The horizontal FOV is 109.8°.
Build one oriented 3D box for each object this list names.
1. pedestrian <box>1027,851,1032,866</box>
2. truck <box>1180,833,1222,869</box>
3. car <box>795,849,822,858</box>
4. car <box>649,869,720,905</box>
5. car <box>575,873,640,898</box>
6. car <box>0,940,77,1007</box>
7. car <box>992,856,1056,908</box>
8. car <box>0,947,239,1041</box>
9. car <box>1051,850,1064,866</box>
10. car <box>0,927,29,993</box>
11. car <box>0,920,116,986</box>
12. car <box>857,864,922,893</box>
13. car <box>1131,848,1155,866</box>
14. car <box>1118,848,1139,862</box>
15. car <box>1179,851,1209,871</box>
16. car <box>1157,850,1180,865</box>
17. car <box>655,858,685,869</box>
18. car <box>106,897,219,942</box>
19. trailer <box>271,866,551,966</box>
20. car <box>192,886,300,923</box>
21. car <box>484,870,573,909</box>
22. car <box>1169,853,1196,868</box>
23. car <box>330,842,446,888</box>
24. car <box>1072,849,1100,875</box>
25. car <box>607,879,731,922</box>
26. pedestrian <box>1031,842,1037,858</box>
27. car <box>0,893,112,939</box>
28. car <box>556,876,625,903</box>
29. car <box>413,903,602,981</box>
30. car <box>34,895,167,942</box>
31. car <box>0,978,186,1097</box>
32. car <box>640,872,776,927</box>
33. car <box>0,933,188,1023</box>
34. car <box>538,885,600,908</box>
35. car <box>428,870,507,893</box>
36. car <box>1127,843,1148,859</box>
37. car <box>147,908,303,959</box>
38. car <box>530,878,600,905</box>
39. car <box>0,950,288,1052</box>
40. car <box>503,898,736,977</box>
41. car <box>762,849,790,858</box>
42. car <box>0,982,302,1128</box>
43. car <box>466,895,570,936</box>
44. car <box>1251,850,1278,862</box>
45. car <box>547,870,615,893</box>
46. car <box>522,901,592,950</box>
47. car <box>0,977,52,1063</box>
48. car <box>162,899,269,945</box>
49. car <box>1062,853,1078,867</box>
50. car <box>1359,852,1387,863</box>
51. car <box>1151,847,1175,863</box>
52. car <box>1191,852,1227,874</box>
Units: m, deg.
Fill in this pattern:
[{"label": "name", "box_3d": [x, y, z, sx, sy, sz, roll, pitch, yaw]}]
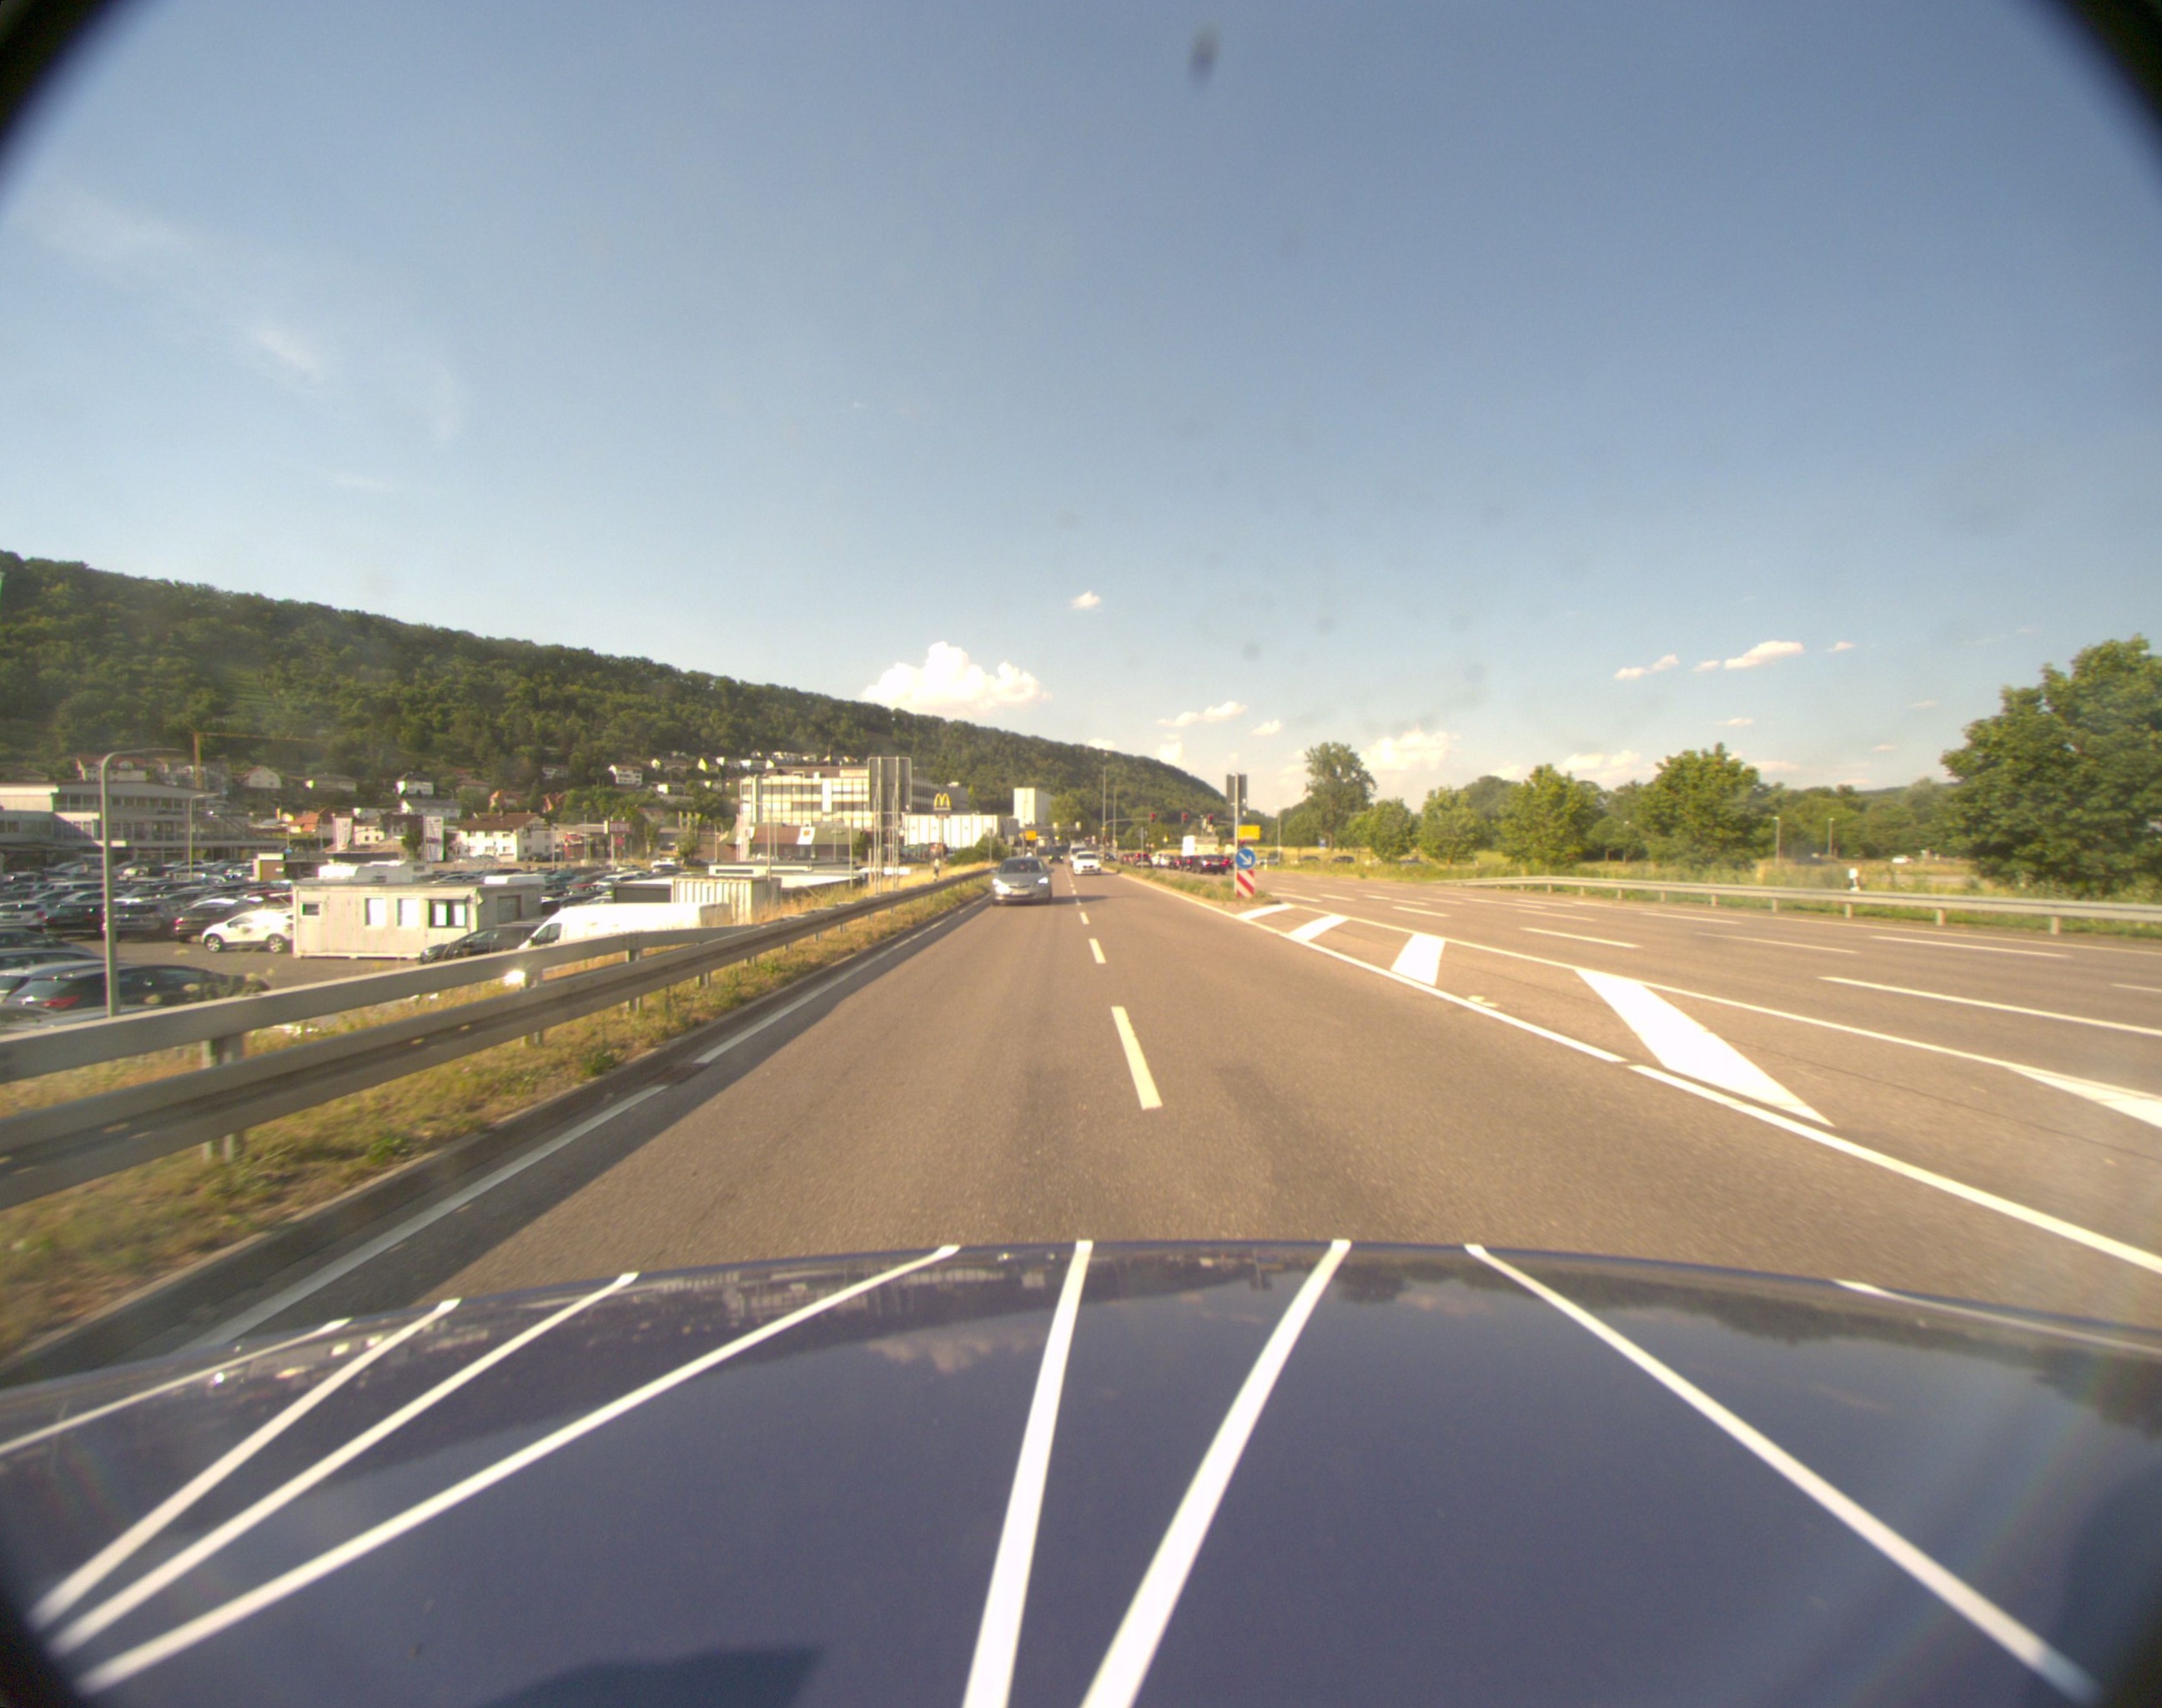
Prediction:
[{"label": "pedestrian", "box_3d": [-6.313, 0.542, 93.223, 0.532, 1.740, 0.537, 3, 2, 4]}, {"label": "truck", "box_3d": [12.957, -0.463, 82.941, 2.940, 3.670, 10.495, 2, 2, 0]}, {"label": "car", "box_3d": [-46.705, -0.044, 130.351, 3.996, 1.449, 1.860, 0, 2, 1]}, {"label": "car", "box_3d": [-25.791, 2.093, 49.642, 1.759, 1.941, 4.827, -2, 2, 3]}, {"label": "car", "box_3d": [-36.597, 2.386, 58.854, 1.759, 1.557, 4.827, -2, 2, 3]}, {"label": "car", "box_3d": [-29.080, 3.269, 19.348, 1.600, 1.555, 3.891, -2, 2, 6]}, {"label": "car", "box_3d": [-1.708, 0.812, 23.915, 1.690, 1.383, 3.882, -1, 2, 1]}, {"label": "car", "box_3d": [-24.009, 3.367, 18.862, 1.600, 1.503, 3.867, -2, 2, 6]}, {"label": "car", "box_3d": [-3.306, 0.556, 107.696, 1.795, 2.156, 4.587, 0, 2, -2]}, {"label": "car", "box_3d": [-31.410, 3.077, 19.975, 1.600, 1.792, 4.020, -2, 2, 6]}, {"label": "car", "box_3d": [-33.363, 3.136, 23.562, 1.600, 1.691, 3.891, -2, 2, 6]}, {"label": "car", "box_3d": [-13.466, 1.738, 53.566, 3.996, 1.806, 1.834, -2, 2, 2]}, {"label": "car", "box_3d": [5.751, 0.266, 70.558, 1.785, 1.511, 3.998, 1, 2, -1]}, {"label": "car", "box_3d": [5.111, 0.099, 83.070, 1.795, 1.458, 4.926, 0, 2, -2]}, {"label": "car", "box_3d": [9.263, 0.537, 62.699, 1.706, 1.465, 4.243, 2, 1, -2]}, {"label": "car", "box_3d": [9.013, 0.368, 78.713, 1.706, 1.397, 5.079, 1, 2, -1]}, {"label": "car", "box_3d": [-63.221, 1.464, 116.872, 3.649, 1.412, 1.690, -2, 2, 5]}, {"label": "car", "box_3d": [-40.617, 2.855, 33.736, 1.683, 1.561, 3.767, -3, 2, -26]}, {"label": "trailer", "box_3d": [-25.562, 2.318, 29.305, 7.897, 3.304, 3.358, -2, 2, 4]}, {"label": "car", "box_3d": [-45.128, 2.697, 41.143, 1.802, 1.607, 3.444, -1, 2, 23]}, {"label": "car", "box_3d": [-37.265, 2.346, 51.461, 1.759, 2.234, 5.297, -2, 2, 3]}, {"label": "car", "box_3d": [9.395, 0.586, 70.628, 1.706, 1.276, 4.817, 1, 1, -1]}, {"label": "car", "box_3d": [-42.644, 0.605, 46.971, 1.759, 2.535, 5.469, -2, 2, 3]}, {"label": "car", "box_3d": [0.351, 0.527, 52.259, 1.825, 1.552, 3.999, -2, 2, 1]}, {"label": "car", "box_3d": [-18.166, 2.040, 33.654, 4.332, 1.739, 2.132, -2, -2, 2]}, {"label": "pedestrian", "box_3d": [-5.566, -0.434, 90.010, 0.620, 1.872, 0.861, 0, 2, -2]}, {"label": "car", "box_3d": [-46.955, 2.777, 34.648, 1.771, 1.674, 3.665, -3, 2, -23]}, {"label": "car", "box_3d": [-32.534, 2.334, 50.508, 1.766, 1.494, 3.675, -2, 2, 11]}, {"label": "car", "box_3d": [-18.980, 2.861, 25.420, 4.576, 2.002, 1.897, -3, 2, -20]}, {"label": "car", "box_3d": [-43.560, 2.811, 33.901, 1.770, 1.674, 3.667, -2, 2, -17]}, {"label": "car", "box_3d": [-19.872, 3.489, 14.240, 1.600, 1.602, 3.668, -2, 2, 5]}, {"label": "car", "box_3d": [-13.725, 1.656, 28.134, 3.996, 1.740, 1.901, -2, 2, 2]}, {"label": "car", "box_3d": [-26.586, 3.172, 19.387, 1.970, 1.691, 4.497, -2, 2, 6]}, {"label": "car", "box_3d": [-30.621, 2.547, 45.473, 1.273, 1.118, 2.768, -1, 2, 23]}, {"label": "car", "box_3d": [-48.544, 2.157, 60.229, 1.756, 1.452, 4.487, -1, 2, 29]}, {"label": "car", "box_3d": [5.728, -0.293, 77.344, 1.785, 1.529, 4.571, 1, 0, -1]}, {"label": "car", "box_3d": [-32.447, 2.999, 28.873, 3.996, 1.648, 1.805, 0, 2, 3]}, {"label": "car", "box_3d": [-34.888, 2.483, 51.472, 1.766, 1.494, 3.675, -2, 2, 11]}, {"label": "car", "box_3d": [-22.010, 3.379, 18.171, 1.601, 1.498, 4.178, 1, 2, 2]}, {"label": "car", "box_3d": [-13.992, 2.508, 23.280, 5.895, 2.002, 2.000, -2, 2, 3]}, {"label": "car", "box_3d": [-52.323, -0.024, 130.409, 3.997, 1.449, 1.860, 0, 2, 1]}, {"label": "car", "box_3d": [-17.145, 3.558, 14.107, 1.601, 1.602, 3.666, -2, 2, -4]}, {"label": "car", "box_3d": [-27.401, 2.978, 37.065, 3.675, 1.726, 1.893, -2, 2, 6]}, {"label": "car", "box_3d": [28.326, 0.290, 117.256, 3.703, 1.609, 1.589, -3, 2, -20]}, {"label": "car", "box_3d": [-40.904, 2.194, 62.289, 1.757, 1.557, 4.484, -1, 2, 16]}, {"label": "car", "box_3d": [-22.864, 3.087, 33.290, 1.729, 1.638, 3.768, -3, 2, -23]}, {"label": "car", "box_3d": [-22.625, 3.458, 14.187, 1.600, 1.602, 3.668, -2, 2, 5]}, {"label": "car", "box_3d": [-37.791, 2.908, 33.301, 1.683, 1.561, 3.767, -3, 2, -26]}, {"label": "car", "box_3d": [-1.201, 0.693, 84.115, 1.690, 1.383, 3.882, -1, 2, 1]}, {"label": "car", "box_3d": [47.499, 0.506, 123.462, 4.263, 1.609, 1.589, -3, 2, -20]}, {"label": "car", "box_3d": [9.103, 0.059, 84.463, 1.999, 1.669, 4.804, 1, 2, -1]}, {"label": "car", "box_3d": [9.311, 0.629, 55.687, 1.720, 1.455, 4.725, 2, 1, -1]}]
